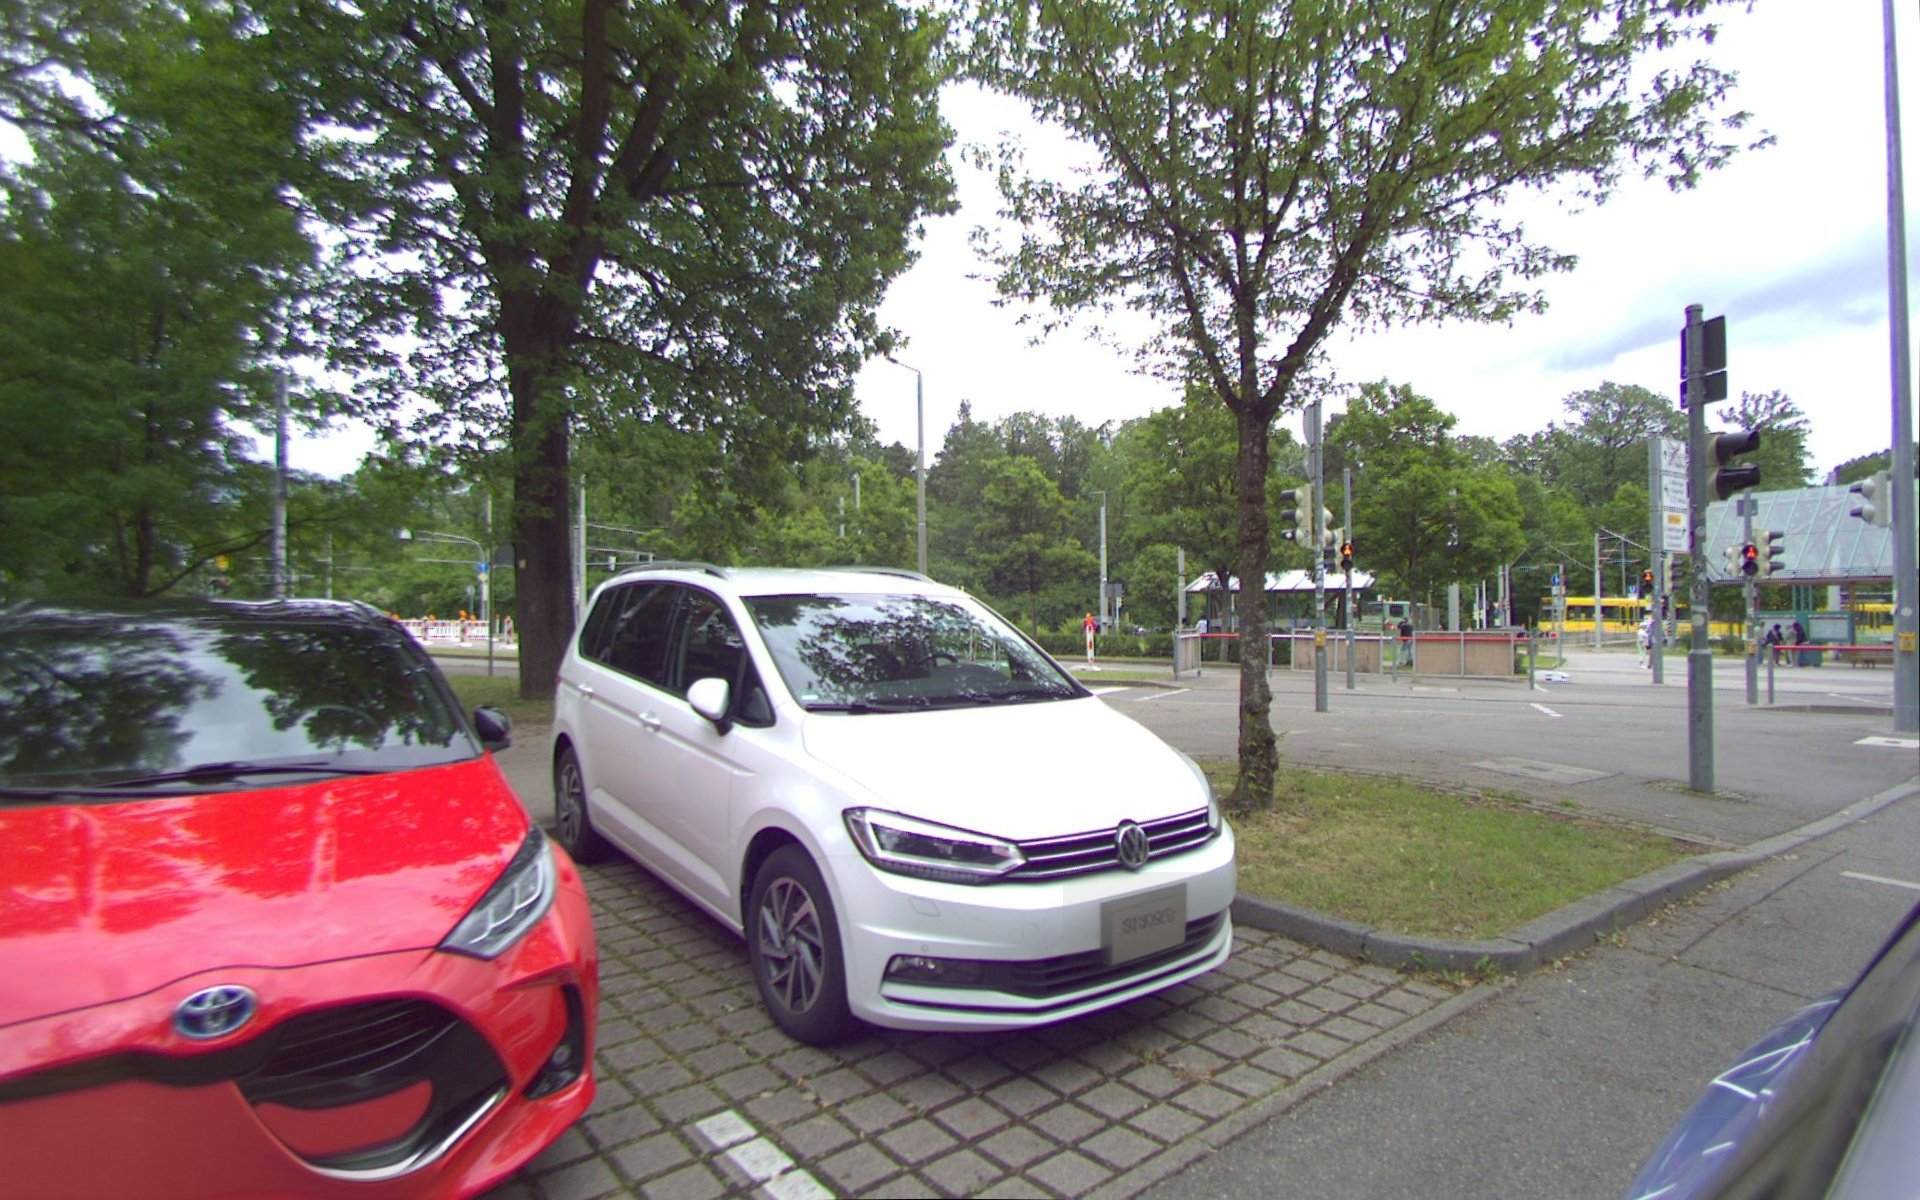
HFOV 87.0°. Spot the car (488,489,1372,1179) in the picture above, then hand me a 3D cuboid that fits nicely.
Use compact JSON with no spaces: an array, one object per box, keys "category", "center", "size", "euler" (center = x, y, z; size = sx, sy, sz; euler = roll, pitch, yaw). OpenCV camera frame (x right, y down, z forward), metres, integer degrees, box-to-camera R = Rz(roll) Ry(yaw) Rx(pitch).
[{"category":"car","center":[-0.652,0.562,4.977],"size":[2.126,1.714,4.532],"euler":[0,0,-37]}]

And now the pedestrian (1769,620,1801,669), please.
[{"category":"pedestrian","center":[30.914,1.666,37.931],"size":[0.655,1.781,0.562],"euler":[1,-3,-1]}]

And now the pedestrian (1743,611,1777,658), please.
[{"category":"pedestrian","center":[30.519,1.320,38.608],"size":[0.722,1.781,0.734],"euler":[2,-3,-29]}]

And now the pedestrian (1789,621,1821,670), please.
[{"category":"pedestrian","center":[31.123,1.667,37.294],"size":[0.590,1.781,0.666],"euler":[0,-3,12]}]

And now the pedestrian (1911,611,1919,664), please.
[{"category":"pedestrian","center":[32.495,1.260,33.987],"size":[0.652,1.781,0.659],"euler":[-2,-4,36]}]

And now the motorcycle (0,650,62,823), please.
[{"category":"motorcycle","center":[-7.369,0.949,6.743],"size":[0.674,1.175,1.982],"euler":[-1,-1,40]}]

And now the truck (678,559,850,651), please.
[{"category":"truck","center":[-8.447,0.194,42.888],"size":[8.215,3.559,2.824],"euler":[0,-1,42]}]

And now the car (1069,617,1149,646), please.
[{"category":"car","center":[10.731,2.305,73.049],"size":[5.323,2.040,2.002],"euler":[1,-3,-11]}]

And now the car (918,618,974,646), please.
[{"category":"car","center":[-1.103,2.402,76.445],"size":[3.917,2.040,2.002],"euler":[1,-3,-11]}]

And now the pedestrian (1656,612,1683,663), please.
[{"category":"pedestrian","center":[25.357,1.334,36.182],"size":[0.732,1.781,0.660],"euler":[-2,-4,35]}]

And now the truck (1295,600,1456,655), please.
[{"category":"truck","center":[19.093,1.289,46.735],"size":[6.419,2.383,2.406],"euler":[1,-3,0]}]

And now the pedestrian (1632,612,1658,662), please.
[{"category":"pedestrian","center":[24.634,1.346,36.388],"size":[0.732,1.781,0.659],"euler":[-2,-4,36]}]

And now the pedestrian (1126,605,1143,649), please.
[{"category":"pedestrian","center":[12.209,1.888,70.769],"size":[1.095,3.084,1.024],"euler":[0,-3,7]}]

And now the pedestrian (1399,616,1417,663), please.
[{"category":"pedestrian","center":[14.878,1.301,33.625],"size":[0.473,1.536,0.520],"euler":[-1,-3,18]}]

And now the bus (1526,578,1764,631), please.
[{"category":"bus","center":[52.328,0.429,77.249],"size":[18.186,3.529,3.985],"euler":[1,-3,-15]}]

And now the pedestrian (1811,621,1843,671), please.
[{"category":"pedestrian","center":[31.674,1.680,36.990],"size":[0.590,1.781,0.666],"euler":[0,-3,12]}]

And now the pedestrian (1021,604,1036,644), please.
[{"category":"pedestrian","center":[4.016,1.381,59.092],"size":[0.847,2.325,0.615],"euler":[0,-3,7]}]

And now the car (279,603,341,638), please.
[{"category":"car","center":[-33.524,1.085,52.188],"size":[3.688,1.761,1.774],"euler":[-2,-4,43]}]

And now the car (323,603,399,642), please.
[{"category":"car","center":[-27.966,1.070,47.226],"size":[3.984,1.739,1.969],"euler":[-2,-4,43]}]

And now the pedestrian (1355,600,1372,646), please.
[{"category":"pedestrian","center":[13.615,0.784,34.142],"size":[0.473,1.536,0.520],"euler":[-1,-3,18]}]

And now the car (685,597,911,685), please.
[{"category":"car","center":[-3.527,0.879,22.179],"size":[4.523,1.773,1.985],"euler":[-1,-3,21]}]

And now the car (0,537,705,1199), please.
[{"category":"car","center":[-2.555,0.726,3.449],"size":[1.910,1.575,4.008],"euler":[1,-2,-36]}]
